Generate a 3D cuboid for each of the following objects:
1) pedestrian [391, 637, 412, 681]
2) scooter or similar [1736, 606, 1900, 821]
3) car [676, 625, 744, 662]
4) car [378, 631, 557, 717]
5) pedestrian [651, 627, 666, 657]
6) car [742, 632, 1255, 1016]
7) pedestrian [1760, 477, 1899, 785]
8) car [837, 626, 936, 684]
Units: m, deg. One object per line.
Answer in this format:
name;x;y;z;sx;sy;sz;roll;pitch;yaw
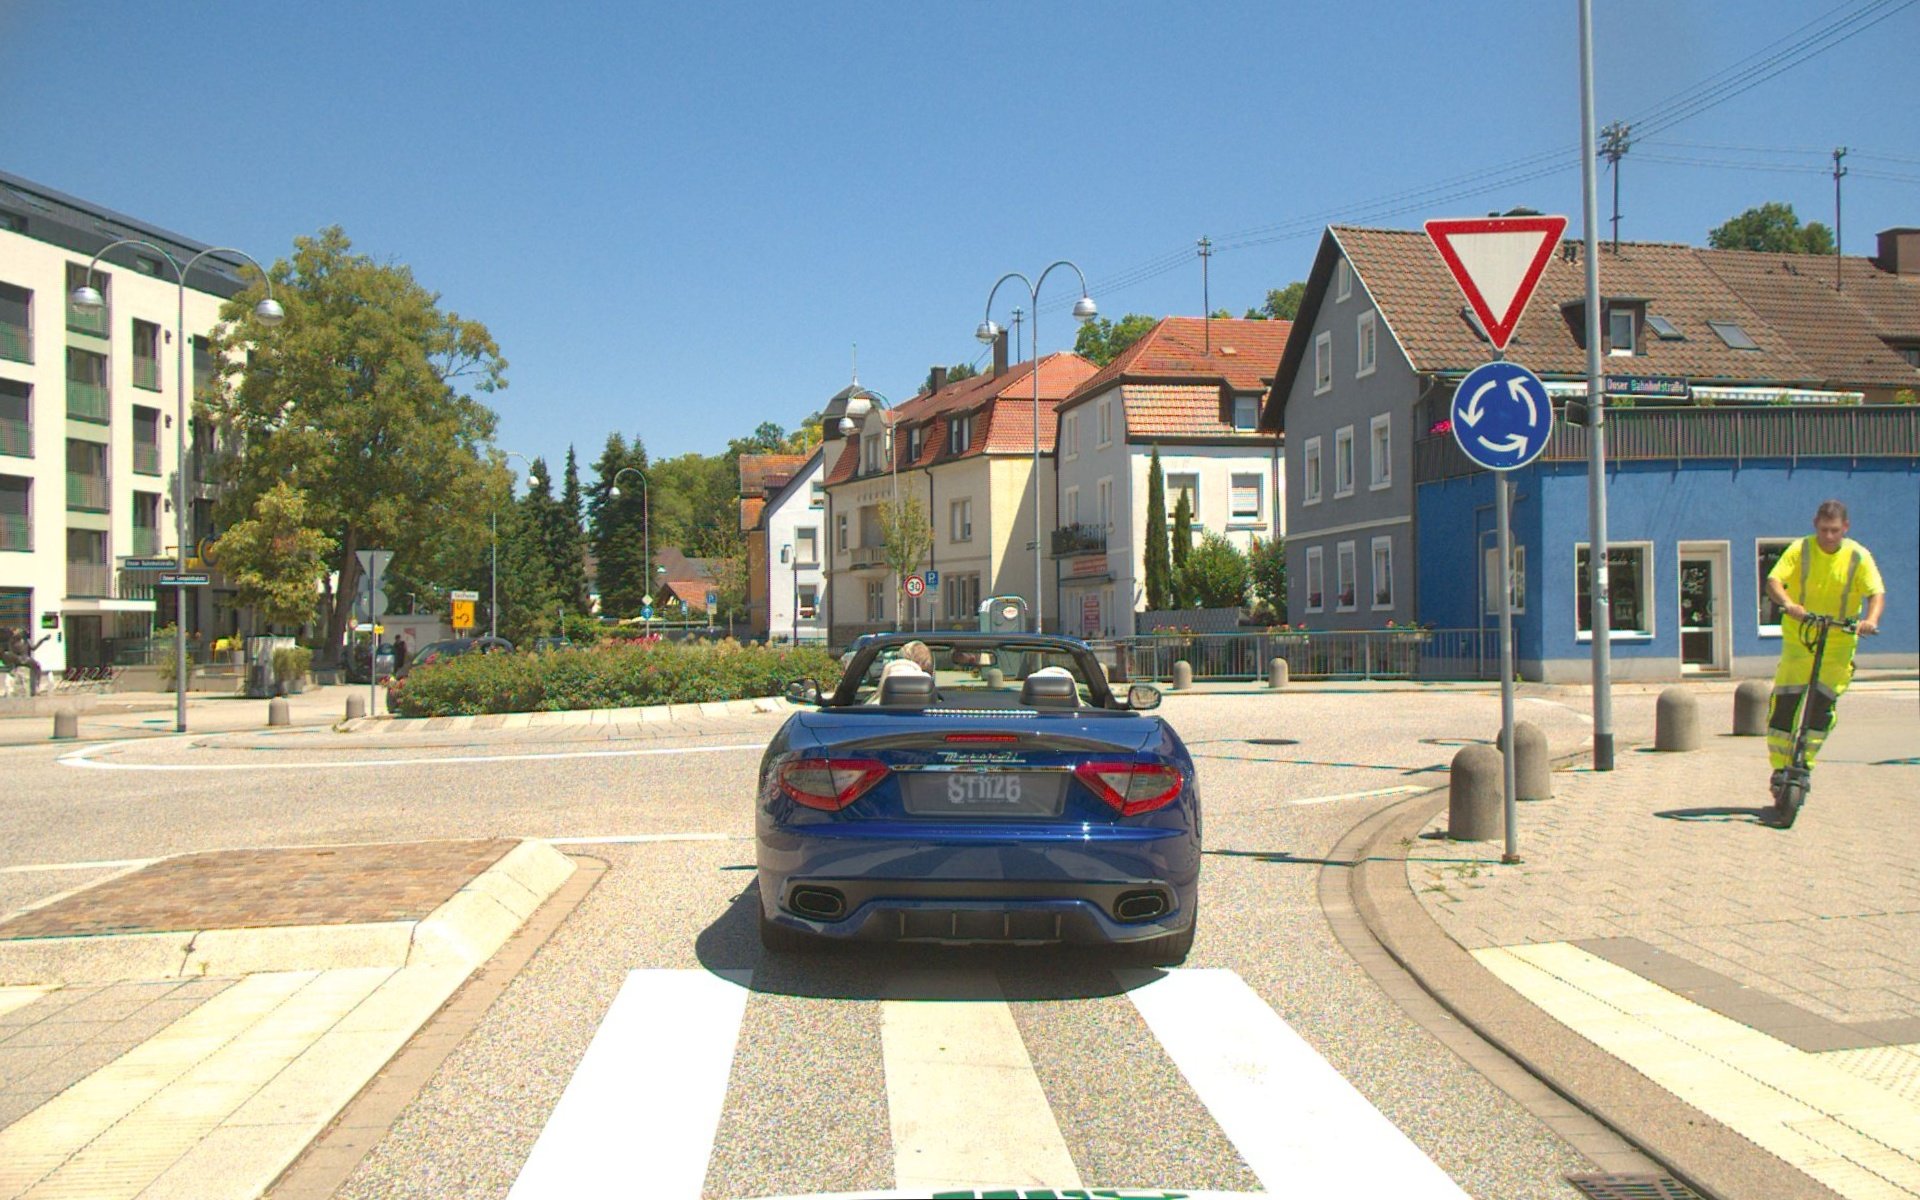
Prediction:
pedestrian;-20.833;2.196;61.709;0.523;1.603;0.563;-2;-1;10
scooter or similar;5.285;0.669;10.250;0.517;1.244;1.241;-2;-1;10
car;-11.819;2.073;77.990;1.831;1.616;3.958;-2;-1;-31
car;-10.211;1.504;34.607;1.759;1.671;4.062;-2;-1;14
pedestrian;-16.478;2.305;90.437;0.604;1.613;0.582;-1;-1;-27
car;0.163;0.858;8.187;1.871;1.384;4.285;0;-1;1
pedestrian;5.403;0.190;10.305;0.665;1.831;0.738;-3;0;27
car;-2.320;1.720;51.068;1.890;1.641;4.122;-1;-2;-20
